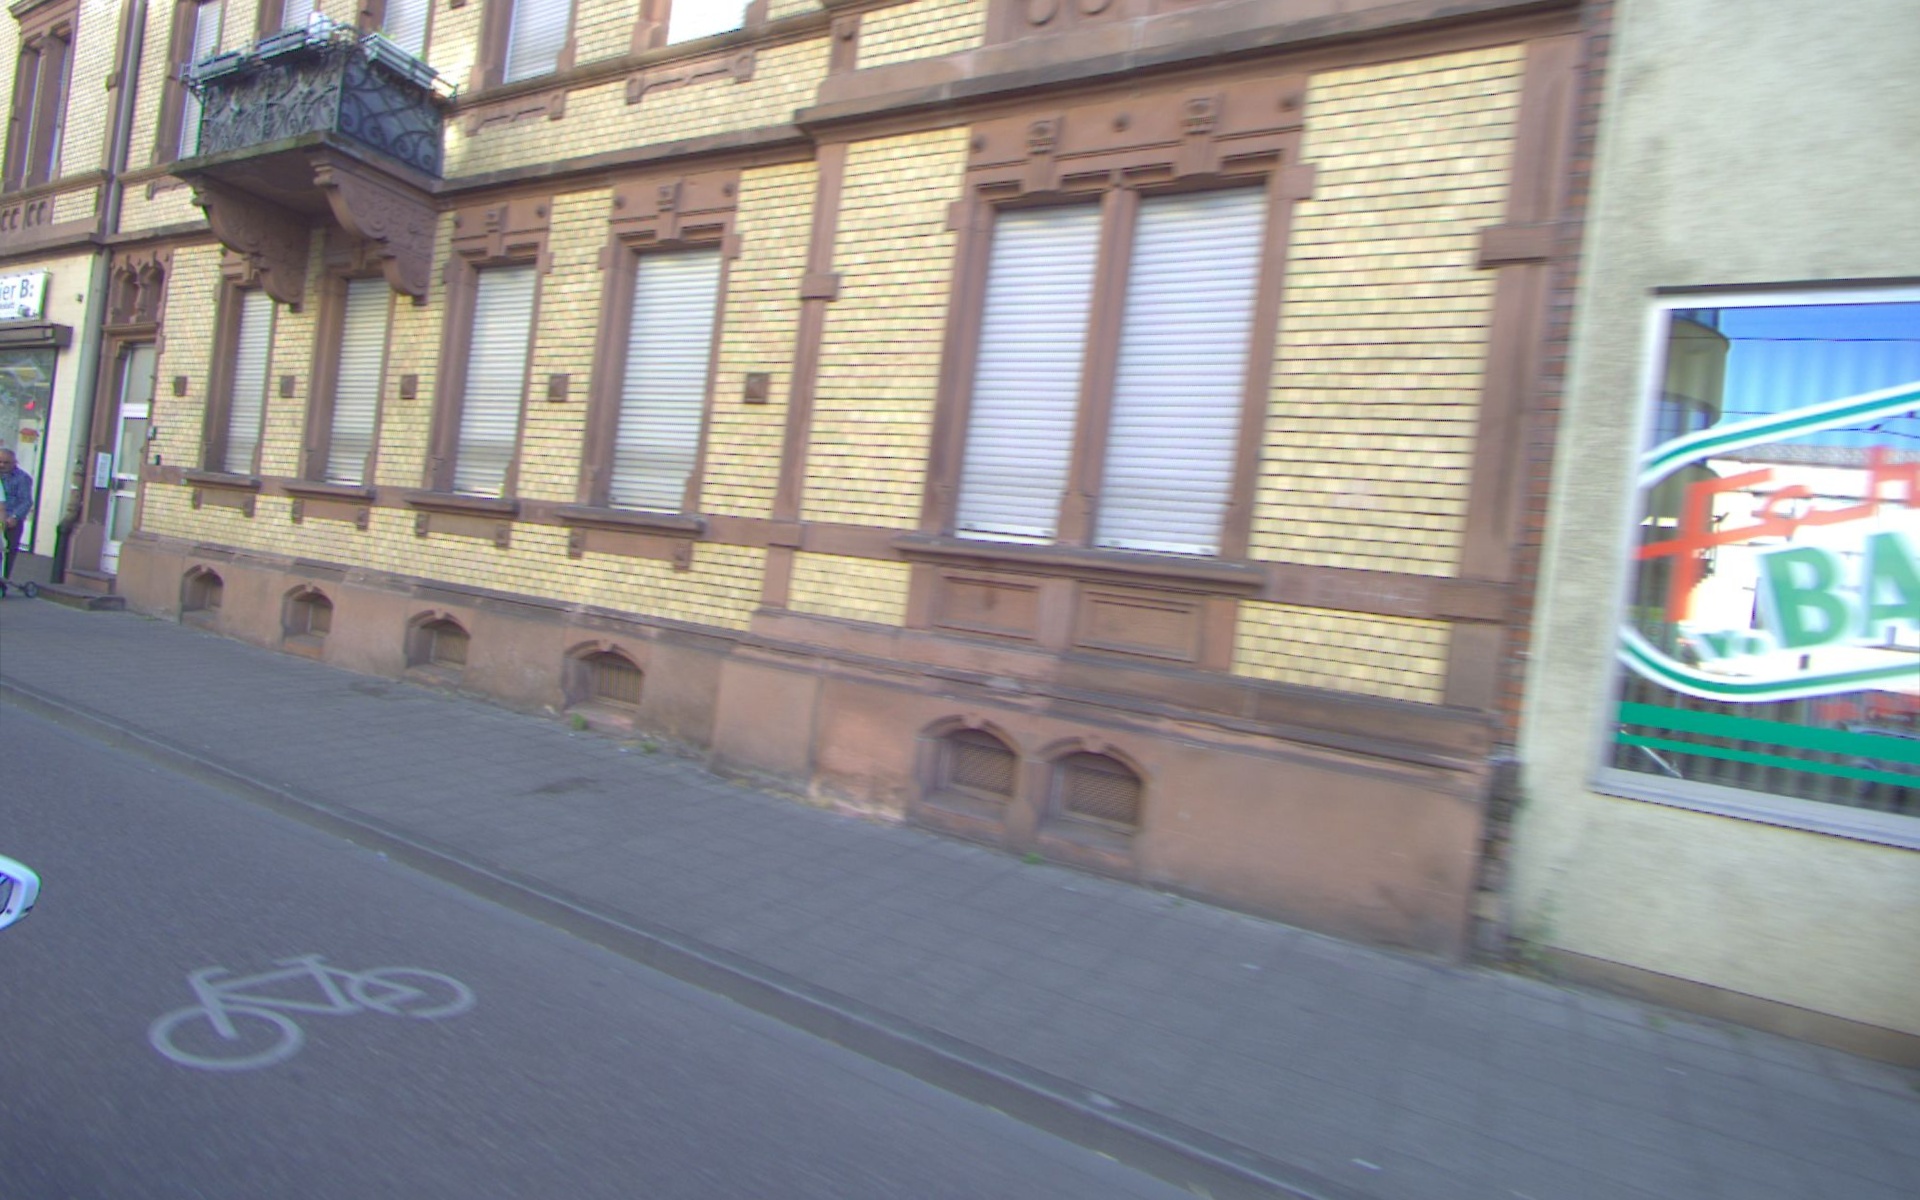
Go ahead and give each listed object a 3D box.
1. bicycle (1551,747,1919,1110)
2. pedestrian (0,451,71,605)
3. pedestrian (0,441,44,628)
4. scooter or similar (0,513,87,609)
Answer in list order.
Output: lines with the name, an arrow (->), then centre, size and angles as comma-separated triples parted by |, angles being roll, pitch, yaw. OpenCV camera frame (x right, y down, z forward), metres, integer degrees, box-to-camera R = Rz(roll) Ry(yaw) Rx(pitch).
bicycle -> 3.672, 1.333, 3.899 | 2.272, 1.075, 0.555 | 7, 3, 31
pedestrian -> -11.612, -0.887, 12.357 | 0.748, 1.825, 0.805 | 8, 5, 30
pedestrian -> -9.847, -0.695, 9.972 | 1.073, 1.825, 0.805 | 8, 5, 29
scooter or similar -> -11.101, -0.465, 12.078 | 0.512, 1.085, 0.805 | 8, 5, 30
